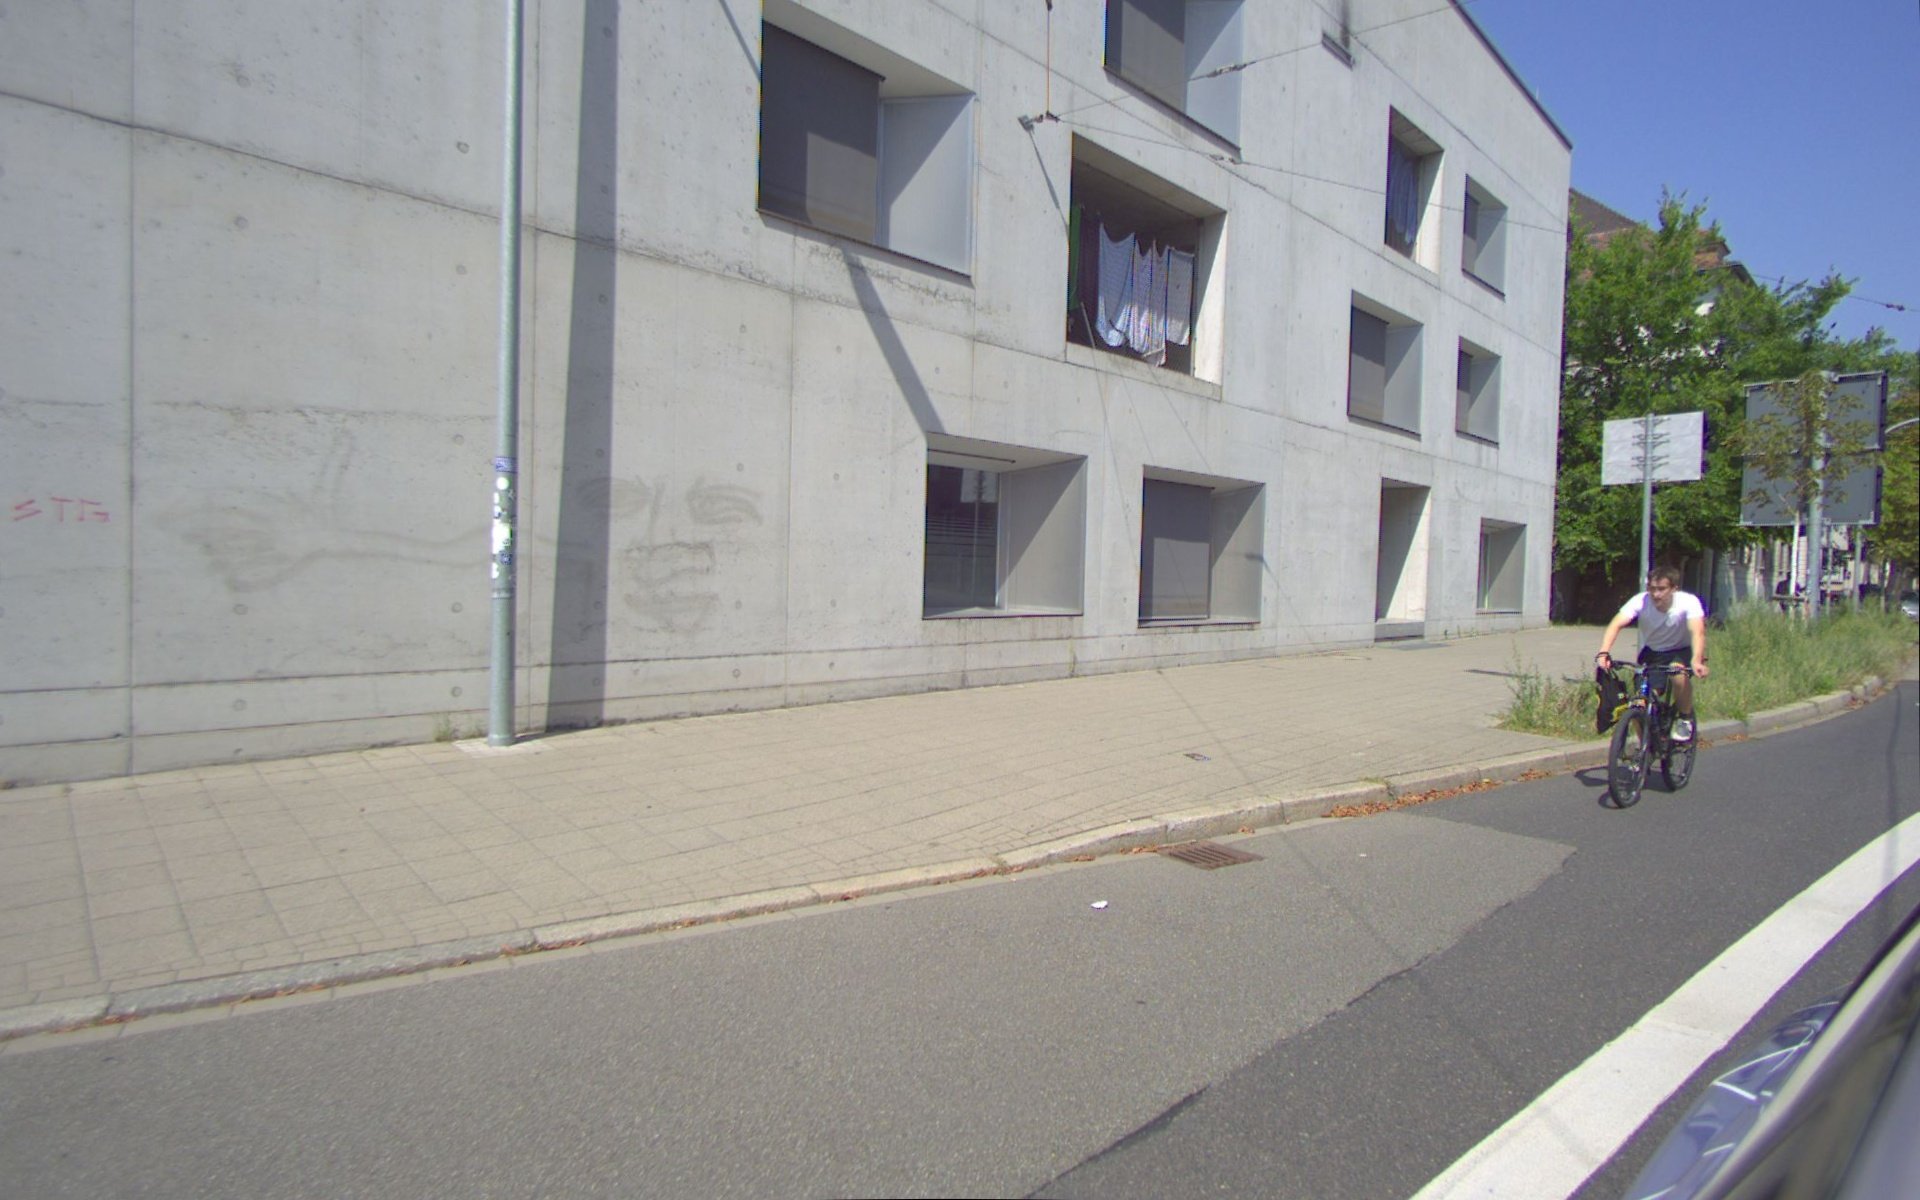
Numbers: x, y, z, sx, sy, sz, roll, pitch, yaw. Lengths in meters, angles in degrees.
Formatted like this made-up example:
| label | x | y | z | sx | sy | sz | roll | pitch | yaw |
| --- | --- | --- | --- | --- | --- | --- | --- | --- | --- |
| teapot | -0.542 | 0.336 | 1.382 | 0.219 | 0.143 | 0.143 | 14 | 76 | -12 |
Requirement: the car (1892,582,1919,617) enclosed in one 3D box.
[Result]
| label | x | y | z | sx | sy | sz | roll | pitch | yaw |
| --- | --- | --- | --- | --- | --- | --- | --- | --- | --- |
| car | 45.221 | -0.045 | 47.733 | 1.663 | 1.525 | 4.368 | 5 | 4 | 41 |

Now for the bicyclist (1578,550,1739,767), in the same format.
| label | x | y | z | sx | sy | sz | roll | pitch | yaw |
| --- | --- | --- | --- | --- | --- | --- | --- | --- | --- |
| bicyclist | 5.040 | 0.370 | 7.298 | 0.946 | 1.429 | 0.745 | 0 | 3 | -44 |

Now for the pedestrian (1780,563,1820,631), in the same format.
| label | x | y | z | sx | sy | sz | roll | pitch | yaw |
| --- | --- | --- | --- | --- | --- | --- | --- | --- | --- |
| pedestrian | 22.444 | -0.094 | 27.045 | 0.569 | 1.753 | 0.693 | 0 | 3 | -42 |

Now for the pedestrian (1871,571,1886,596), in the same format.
| label | x | y | z | sx | sy | sz | roll | pitch | yaw |
| --- | --- | --- | --- | --- | --- | --- | --- | --- | --- |
| pedestrian | 69.124 | -1.241 | 76.172 | 0.622 | 1.807 | 0.748 | 0 | 3 | -44 |

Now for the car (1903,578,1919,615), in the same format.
| label | x | y | z | sx | sy | sz | roll | pitch | yaw |
| --- | --- | --- | --- | --- | --- | --- | --- | --- | --- |
| car | 40.262 | -0.125 | 41.801 | 1.783 | 1.468 | 4.678 | 5 | 4 | 43 |

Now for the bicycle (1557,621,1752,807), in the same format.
| label | x | y | z | sx | sy | sz | roll | pitch | yaw |
| --- | --- | --- | --- | --- | --- | --- | --- | --- | --- |
| bicycle | 5.075 | 0.730 | 7.323 | 2.197 | 1.061 | 0.740 | -1 | 3 | -45 |

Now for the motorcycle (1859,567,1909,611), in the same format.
| label | x | y | z | sx | sy | sz | roll | pitch | yaw |
| --- | --- | --- | --- | --- | --- | --- | --- | --- | --- |
| motorcycle | 34.563 | -0.424 | 37.850 | 2.367 | 1.571 | 0.889 | -1 | 4 | -37 |

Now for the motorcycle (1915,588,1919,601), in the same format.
| label | x | y | z | sx | sy | sz | roll | pitch | yaw |
| --- | --- | --- | --- | --- | --- | --- | --- | --- | --- |
| motorcycle | 79.668 | -0.351 | 82.875 | 0.783 | 1.027 | 1.998 | 0 | 6 | -44 |
